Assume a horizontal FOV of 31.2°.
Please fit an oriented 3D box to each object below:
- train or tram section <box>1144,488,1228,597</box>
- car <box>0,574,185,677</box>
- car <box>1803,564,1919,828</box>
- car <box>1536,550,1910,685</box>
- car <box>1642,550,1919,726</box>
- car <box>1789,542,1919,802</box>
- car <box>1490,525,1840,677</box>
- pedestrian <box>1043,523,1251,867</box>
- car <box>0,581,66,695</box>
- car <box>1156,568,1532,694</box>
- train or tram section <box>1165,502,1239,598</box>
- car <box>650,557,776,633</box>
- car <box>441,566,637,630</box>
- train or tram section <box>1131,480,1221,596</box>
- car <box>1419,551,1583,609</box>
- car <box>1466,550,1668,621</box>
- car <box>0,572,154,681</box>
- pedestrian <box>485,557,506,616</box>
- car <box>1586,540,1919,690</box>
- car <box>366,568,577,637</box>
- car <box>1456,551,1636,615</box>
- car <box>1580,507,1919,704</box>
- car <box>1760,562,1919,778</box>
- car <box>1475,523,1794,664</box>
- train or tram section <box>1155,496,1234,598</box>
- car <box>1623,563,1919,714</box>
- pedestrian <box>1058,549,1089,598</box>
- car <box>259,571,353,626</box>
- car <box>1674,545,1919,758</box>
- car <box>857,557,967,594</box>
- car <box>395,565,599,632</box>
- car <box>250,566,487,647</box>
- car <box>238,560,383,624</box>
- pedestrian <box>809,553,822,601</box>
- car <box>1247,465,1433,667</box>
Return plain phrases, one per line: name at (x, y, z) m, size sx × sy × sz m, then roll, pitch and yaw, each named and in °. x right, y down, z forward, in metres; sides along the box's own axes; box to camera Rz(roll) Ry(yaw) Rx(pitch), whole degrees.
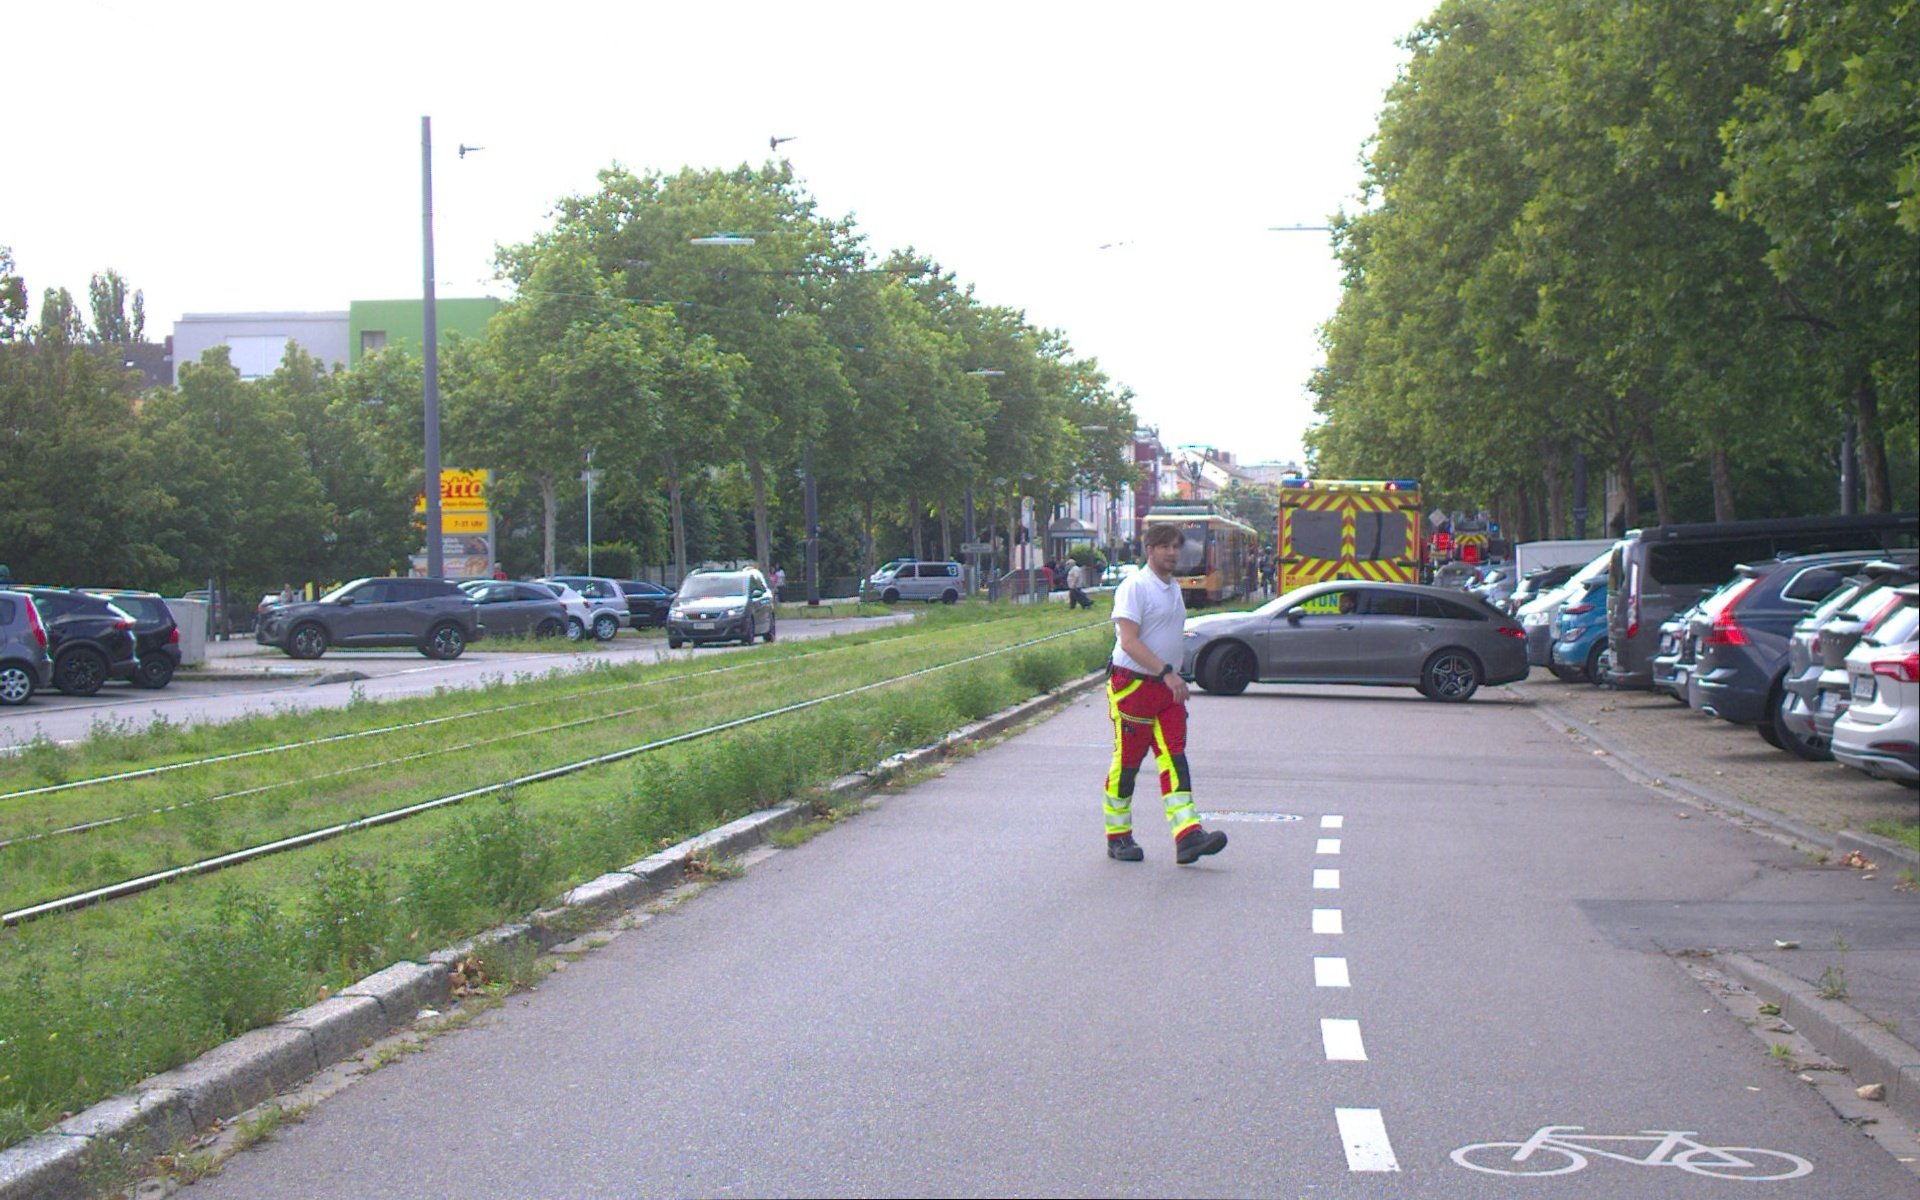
train or tram section at (7.889, -1.928, 119.449) m, size 2.512 × 3.572 × 7.443 m, roll -2°, pitch 0°, yaw 6°
car at (-13.917, 0.380, 51.502) m, size 4.220 × 1.477 × 1.884 m, roll -1°, pitch 1°, yaw -22°
car at (7.505, 0.492, 20.203) m, size 4.659 × 1.468 × 1.848 m, roll -1°, pitch 1°, yaw 3°
car at (10.060, 0.223, 45.571) m, size 4.546 × 1.655 × 1.856 m, roll -1°, pitch 0°, yaw 2°
car at (8.783, 0.333, 33.197) m, size 3.965 × 1.600 × 1.756 m, roll -1°, pitch 0°, yaw -4°
car at (7.949, 0.397, 22.400) m, size 4.659 × 1.620 × 1.848 m, roll -1°, pitch 1°, yaw 3°
car at (9.821, 0.007, 48.155) m, size 4.546 × 1.994 × 1.856 m, roll -1°, pitch 0°, yaw 3°
pedestrian at (0.931, 0.460, 17.288) m, size 0.803 × 1.680 × 0.851 m, roll 0°, pitch 0°, yaw -16°
car at (-14.110, 0.526, 45.422) m, size 4.220 × 1.477 × 1.884 m, roll -1°, pitch 1°, yaw -22°
car at (4.662, 0.360, 42.177) m, size 4.454 × 1.381 × 1.766 m, roll 2°, pitch 1°, yaw 4°
train or tram section at (9.495, -1.889, 134.224) m, size 2.512 × 3.572 × 7.443 m, roll -2°, pitch 0°, yaw 6°
car at (-5.358, -0.125, 75.205) m, size 1.994 × 1.552 × 4.369 m, roll -2°, pitch 1°, yaw 6°
car at (-10.022, -0.046, 81.822) m, size 4.221 × 1.477 × 1.883 m, roll 1°, pitch 0°, yaw -29°
train or tram section at (7.098, -1.948, 112.060) m, size 2.512 × 3.572 × 7.443 m, roll -2°, pitch 0°, yaw 6°
car at (15.804, -0.581, 100.671) m, size 4.546 × 1.603 × 1.856 m, roll -1°, pitch 0°, yaw 3°
car at (14.548, -0.351, 82.608) m, size 4.546 × 1.603 × 1.856 m, roll -1°, pitch 0°, yaw 3°
car at (-13.655, 0.380, 48.395) m, size 4.220 × 1.477 × 1.884 m, roll -1°, pitch 1°, yaw -22°
pedestrian at (-13.159, -0.384, 97.442) m, size 0.466 × 1.671 × 0.603 m, roll 0°, pitch 0°, yaw 5°
car at (10.220, 0.174, 42.999) m, size 4.546 × 1.760 × 1.855 m, roll -1°, pitch 0°, yaw 6°
car at (-10.783, 0.056, 75.945) m, size 4.221 × 1.477 × 1.883 m, roll 1°, pitch 0°, yaw -29°
car at (15.719, -0.450, 92.386) m, size 4.546 × 1.603 × 1.856 m, roll -1°, pitch 0°, yaw 3°
car at (9.452, 0.050, 39.123) m, size 4.546 × 2.116 × 1.855 m, roll -1°, pitch 0°, yaw 6°
car at (8.146, 0.458, 25.001) m, size 4.382 × 1.496 × 1.755 m, roll -1°, pitch 1°, yaw 9°
car at (10.292, -0.104, 52.724) m, size 4.546 × 2.036 × 1.856 m, roll -1°, pitch 0°, yaw 3°
train or tram section at (8.690, -1.909, 126.850) m, size 2.512 × 3.572 × 7.443 m, roll -2°, pitch 0°, yaw 6°
car at (9.061, 0.386, 36.061) m, size 3.966 × 1.489 × 1.756 m, roll -1°, pitch 0°, yaw 6°
pedestrian at (3.566, -0.841, 108.201) m, size 0.881 × 1.520 × 0.751 m, roll 1°, pitch 0°, yaw 6°
car at (-21.960, -0.079, 115.564) m, size 1.994 × 1.744 × 3.999 m, roll 2°, pitch 1°, yaw 6°
car at (8.029, 0.373, 27.573) m, size 4.382 × 1.634 × 1.755 m, roll -1°, pitch 0°, yaw 9°
car at (-2.155, -1.107, 154.120) m, size 4.613 × 1.627 × 1.883 m, roll -1°, pitch 1°, yaw -32°
car at (-10.607, -0.036, 78.842) m, size 4.221 × 1.477 × 1.883 m, roll 1°, pitch 0°, yaw -29°
car at (-11.329, 0.124, 65.800) m, size 4.220 × 1.477 × 1.884 m, roll 1°, pitch 0°, yaw -18°
car at (-19.021, -0.231, 100.637) m, size 3.996 × 1.744 × 1.995 m, roll 2°, pitch 1°, yaw 38°
pedestrian at (-5.192, -0.828, 123.909) m, size 0.421 × 1.724 × 0.467 m, roll -1°, pitch 0°, yaw 2°
car at (6.186, -0.543, 55.273) m, size 2.642 × 2.956 × 6.297 m, roll 3°, pitch 1°, yaw 8°
